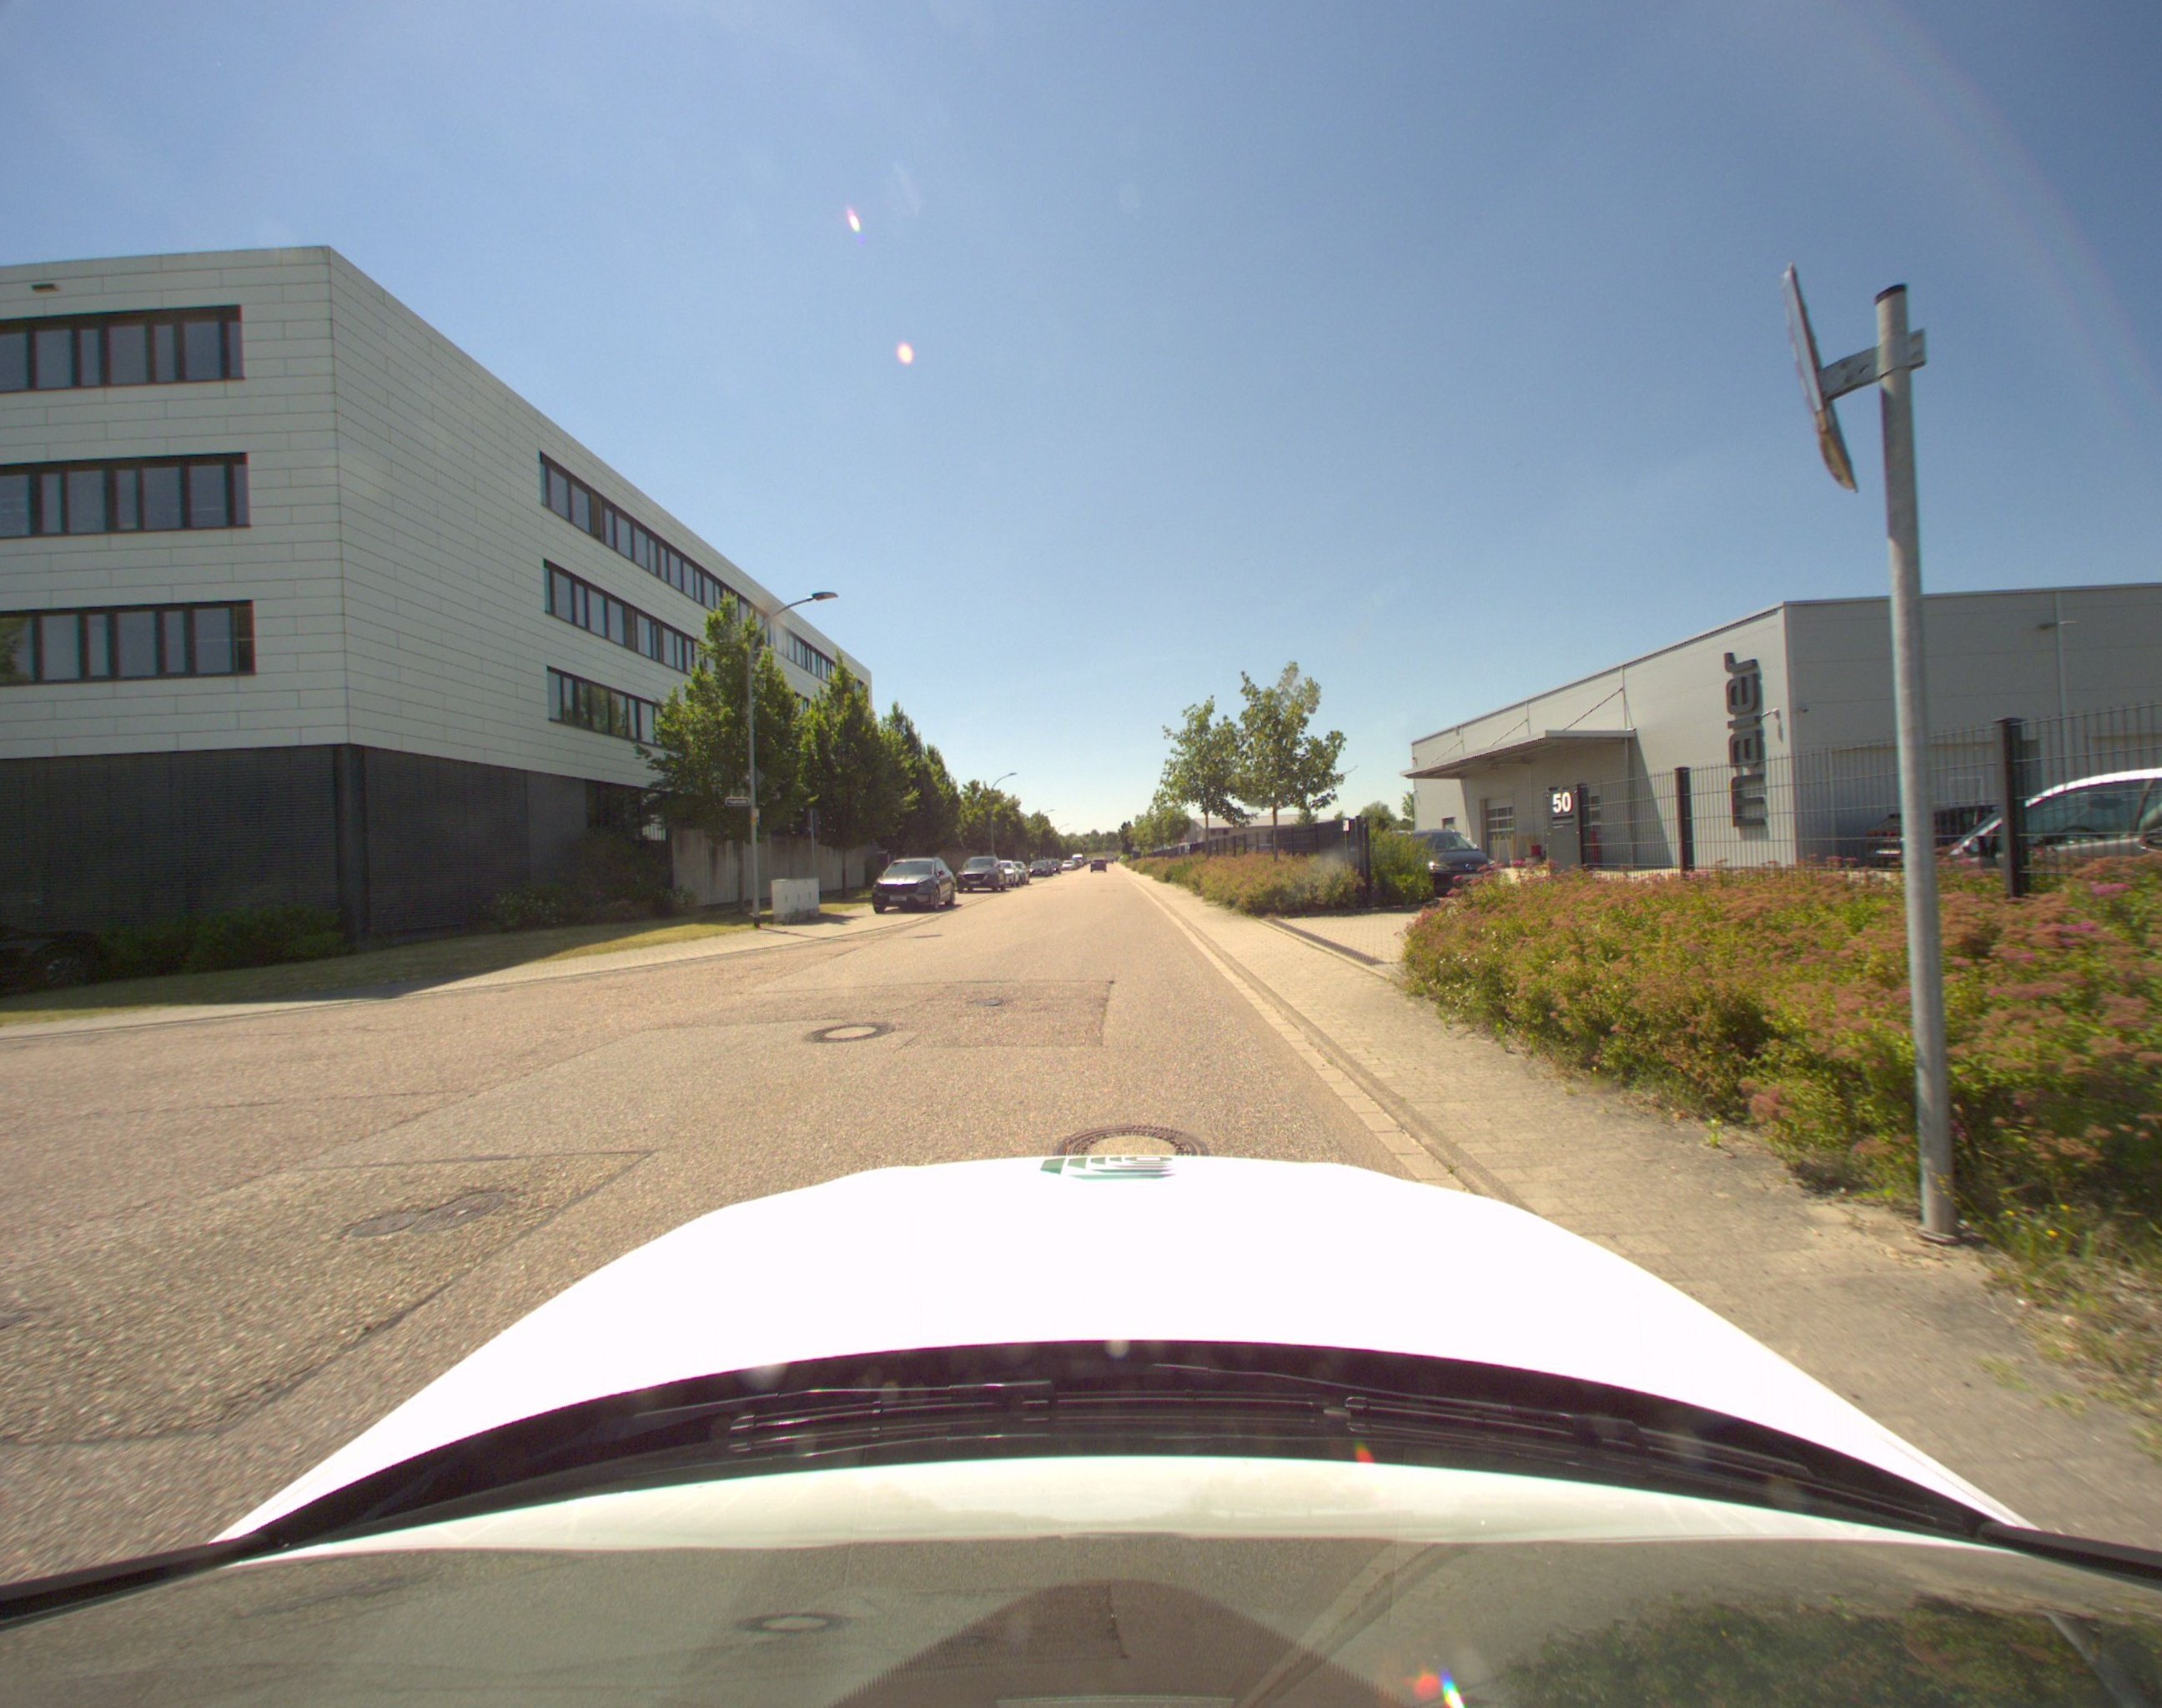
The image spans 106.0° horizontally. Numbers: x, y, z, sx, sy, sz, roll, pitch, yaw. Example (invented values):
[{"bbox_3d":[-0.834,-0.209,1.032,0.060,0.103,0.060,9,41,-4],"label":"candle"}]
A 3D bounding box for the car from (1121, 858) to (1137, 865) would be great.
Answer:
[{"bbox_3d":[12.431,1.901,210.456,3.864,1.750,1.751,0,-1,-1],"label":"car"}]

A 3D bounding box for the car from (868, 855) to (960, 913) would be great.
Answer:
[{"bbox_3d":[-5.078,0.885,25.426,1.764,1.588,4.482,-2,-1,2],"label":"car"}]

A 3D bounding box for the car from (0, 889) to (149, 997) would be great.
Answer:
[{"bbox_3d":[-18.823,1.630,13.060,1.797,1.592,4.909,-2,3,4],"label":"car"}]

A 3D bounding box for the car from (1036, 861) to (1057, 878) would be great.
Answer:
[{"bbox_3d":[-3.295,1.490,78.556,1.765,1.611,4.852,-2,-1,1],"label":"car"}]

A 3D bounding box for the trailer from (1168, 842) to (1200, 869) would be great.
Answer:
[{"bbox_3d":[10.041,0.167,79.559,2.815,2.403,1.418,-4,-1,-3],"label":"trailer"}]

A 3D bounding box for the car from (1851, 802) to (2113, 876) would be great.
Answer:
[{"bbox_3d":[20.132,-0.343,18.320,3.973,1.378,1.706,-3,2,1],"label":"car"}]

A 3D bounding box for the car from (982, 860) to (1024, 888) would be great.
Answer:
[{"bbox_3d":[-4.321,1.074,45.798,1.764,1.431,4.203,-2,0,2],"label":"car"}]

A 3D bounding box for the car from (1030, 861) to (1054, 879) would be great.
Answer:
[{"bbox_3d":[-3.434,1.418,72.810,1.764,1.431,4.203,-2,0,2],"label":"car"}]

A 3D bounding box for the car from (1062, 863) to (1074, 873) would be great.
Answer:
[{"bbox_3d":[-1.962,2.062,123.192,1.715,1.476,3.856,-2,-1,-1],"label":"car"}]

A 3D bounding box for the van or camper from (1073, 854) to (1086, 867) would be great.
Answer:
[{"bbox_3d":[-0.243,1.373,166.027,2.069,2.483,6.137,0,-1,4],"label":"van or camper"}]

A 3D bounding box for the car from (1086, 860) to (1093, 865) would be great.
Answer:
[{"bbox_3d":[2.552,2.589,242.124,1.791,1.487,4.256,-2,0,3],"label":"car"}]

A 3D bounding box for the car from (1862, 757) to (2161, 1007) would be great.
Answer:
[{"bbox_3d":[7.537,0.151,5.749,1.461,1.574,2.662,-3,-1,2],"label":"car"}]

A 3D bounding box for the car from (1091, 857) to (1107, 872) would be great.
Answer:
[{"bbox_3d":[2.066,1.218,92.841,1.783,1.623,3.810,0,-1,2],"label":"car"}]

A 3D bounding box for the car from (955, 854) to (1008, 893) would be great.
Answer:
[{"bbox_3d":[-4.602,0.862,38.201,1.764,1.623,4.584,-2,0,2],"label":"car"}]

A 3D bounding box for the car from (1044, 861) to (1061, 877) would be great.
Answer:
[{"bbox_3d":[-3.168,1.662,91.216,1.765,1.611,4.247,-2,-1,1],"label":"car"}]

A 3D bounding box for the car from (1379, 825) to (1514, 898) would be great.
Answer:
[{"bbox_3d":[8.995,0.153,20.374,1.803,1.552,3.578,-4,1,2],"label":"car"}]

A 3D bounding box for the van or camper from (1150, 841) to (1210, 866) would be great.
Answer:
[{"bbox_3d":[11.631,-0.066,95.866,6.734,2.585,2.636,-3,-1,0],"label":"van or camper"}]

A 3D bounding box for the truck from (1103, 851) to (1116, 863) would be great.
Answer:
[{"bbox_3d":[6.898,0.747,195.585,2.921,2.974,6.422,0,-1,2],"label":"truck"}]

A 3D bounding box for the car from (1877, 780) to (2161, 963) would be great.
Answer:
[{"bbox_3d":[9.557,0.117,7.316,1.509,1.496,3.332,-3,-1,1],"label":"car"}]

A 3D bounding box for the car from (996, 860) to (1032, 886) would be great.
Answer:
[{"bbox_3d":[-4.115,1.133,50.537,1.764,1.431,3.942,-2,0,2],"label":"car"}]
